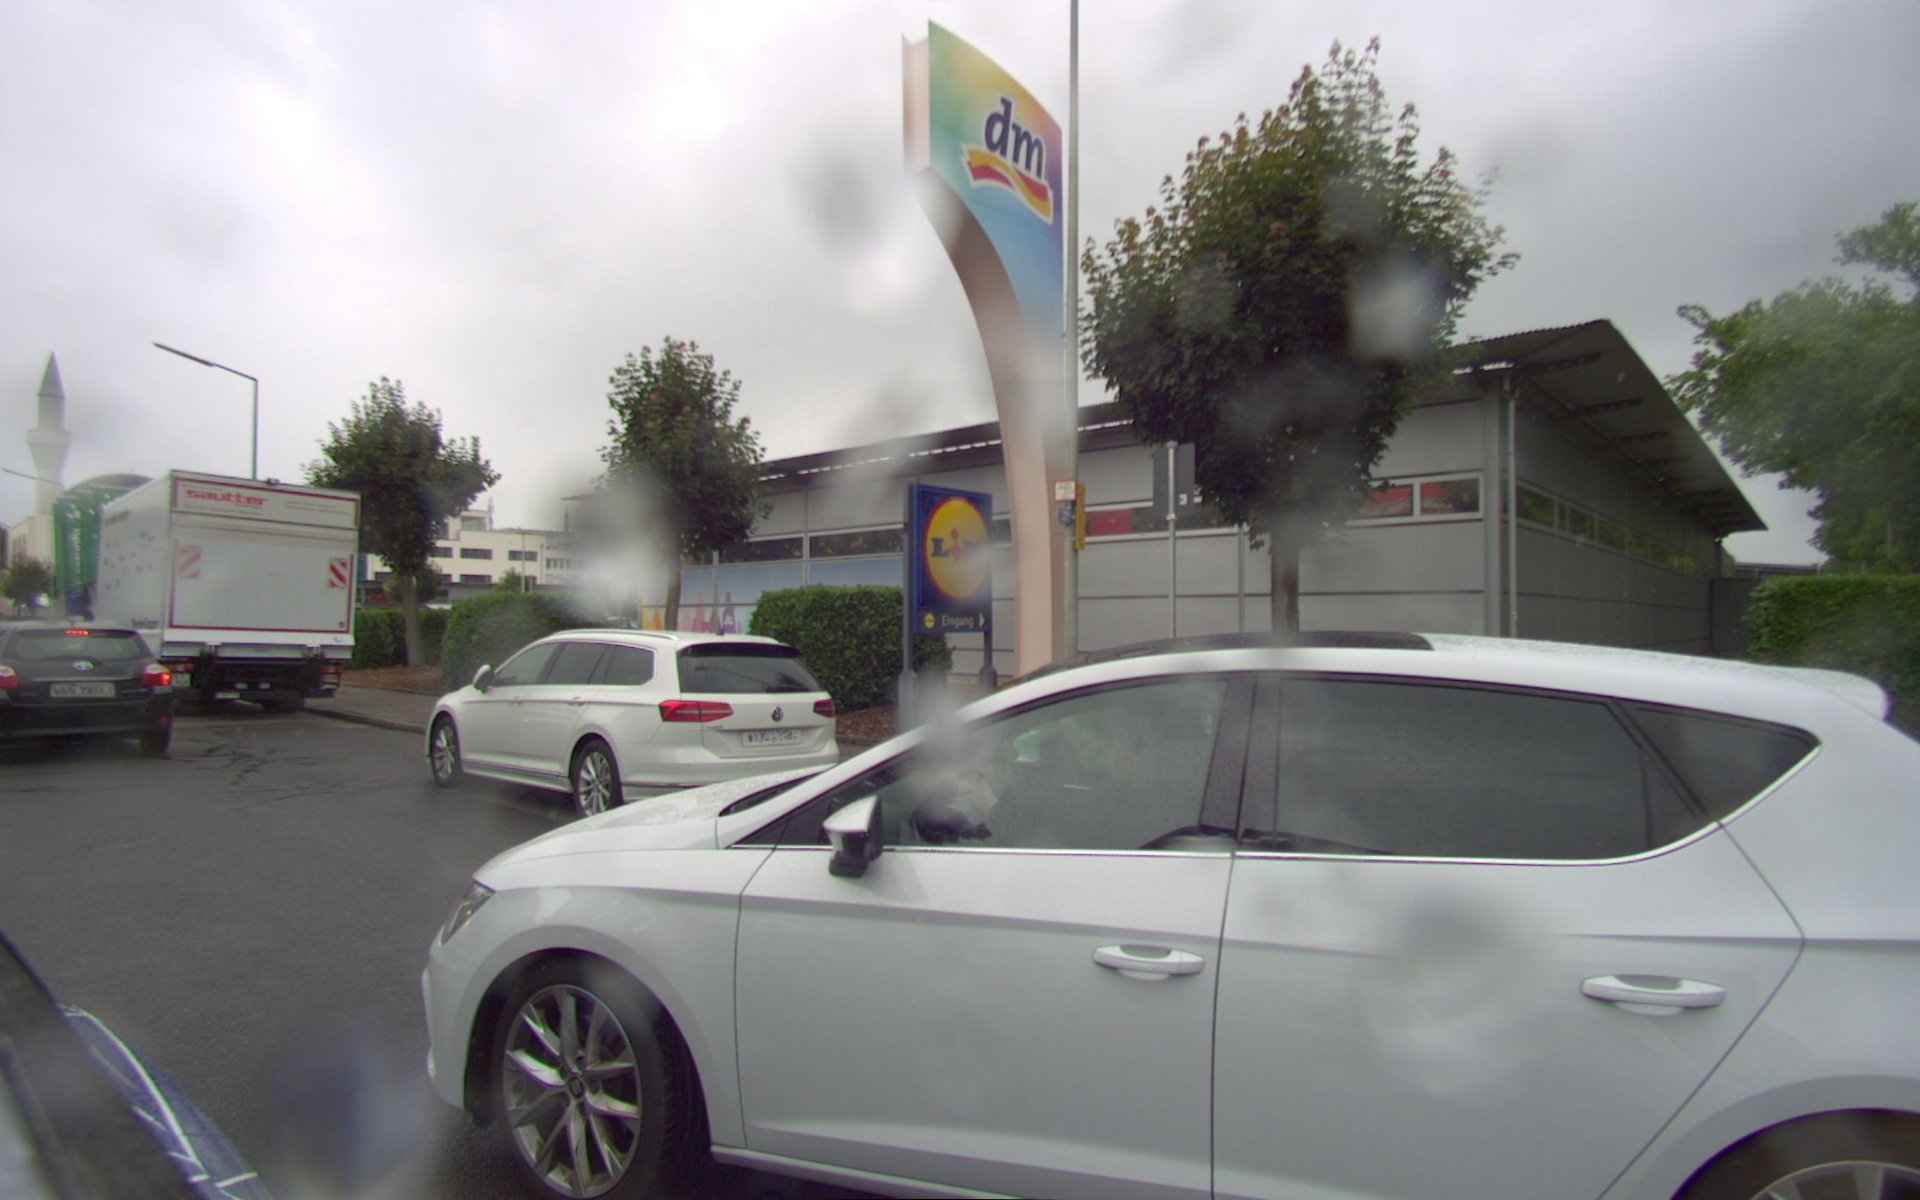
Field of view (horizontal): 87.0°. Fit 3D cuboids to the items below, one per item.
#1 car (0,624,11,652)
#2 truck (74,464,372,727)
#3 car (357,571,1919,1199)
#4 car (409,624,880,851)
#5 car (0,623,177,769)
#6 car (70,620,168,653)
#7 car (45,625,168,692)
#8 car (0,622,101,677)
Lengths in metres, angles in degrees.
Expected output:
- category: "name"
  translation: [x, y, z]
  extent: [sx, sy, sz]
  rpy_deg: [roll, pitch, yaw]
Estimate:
- category: "car"
  translation: [-47.468, 1.852, 49.173]
  extent: [3.608, 1.351, 1.559]
  rpy_deg: [-1, -2, 40]
- category: "truck"
  translation: [-13.548, 0.022, 18.282]
  extent: [7.867, 3.775, 2.850]
  rpy_deg: [-1, -2, 43]
- category: "car"
  translation: [0.657, 0.724, 2.720]
  extent: [3.967, 1.452, 1.726]
  rpy_deg: [-1, -2, 18]
- category: "car"
  translation: [-2.888, 0.954, 8.669]
  extent: [4.490, 1.445, 1.816]
  rpy_deg: [-1, -3, 42]
- category: "car"
  translation: [-10.798, 1.022, 11.797]
  extent: [3.995, 1.452, 1.714]
  rpy_deg: [-2, -3, 38]
- category: "car"
  translation: [-43.029, 1.834, 51.840]
  extent: [1.690, 1.610, 3.565]
  rpy_deg: [-1, -2, 38]
- category: "car"
  translation: [-20.224, 1.325, 23.945]
  extent: [3.511, 1.477, 1.670]
  rpy_deg: [-1, -2, 40]
- category: "car"
  translation: [-26.045, 1.371, 28.952]
  extent: [3.511, 1.477, 1.670]
  rpy_deg: [-1, -2, 40]
